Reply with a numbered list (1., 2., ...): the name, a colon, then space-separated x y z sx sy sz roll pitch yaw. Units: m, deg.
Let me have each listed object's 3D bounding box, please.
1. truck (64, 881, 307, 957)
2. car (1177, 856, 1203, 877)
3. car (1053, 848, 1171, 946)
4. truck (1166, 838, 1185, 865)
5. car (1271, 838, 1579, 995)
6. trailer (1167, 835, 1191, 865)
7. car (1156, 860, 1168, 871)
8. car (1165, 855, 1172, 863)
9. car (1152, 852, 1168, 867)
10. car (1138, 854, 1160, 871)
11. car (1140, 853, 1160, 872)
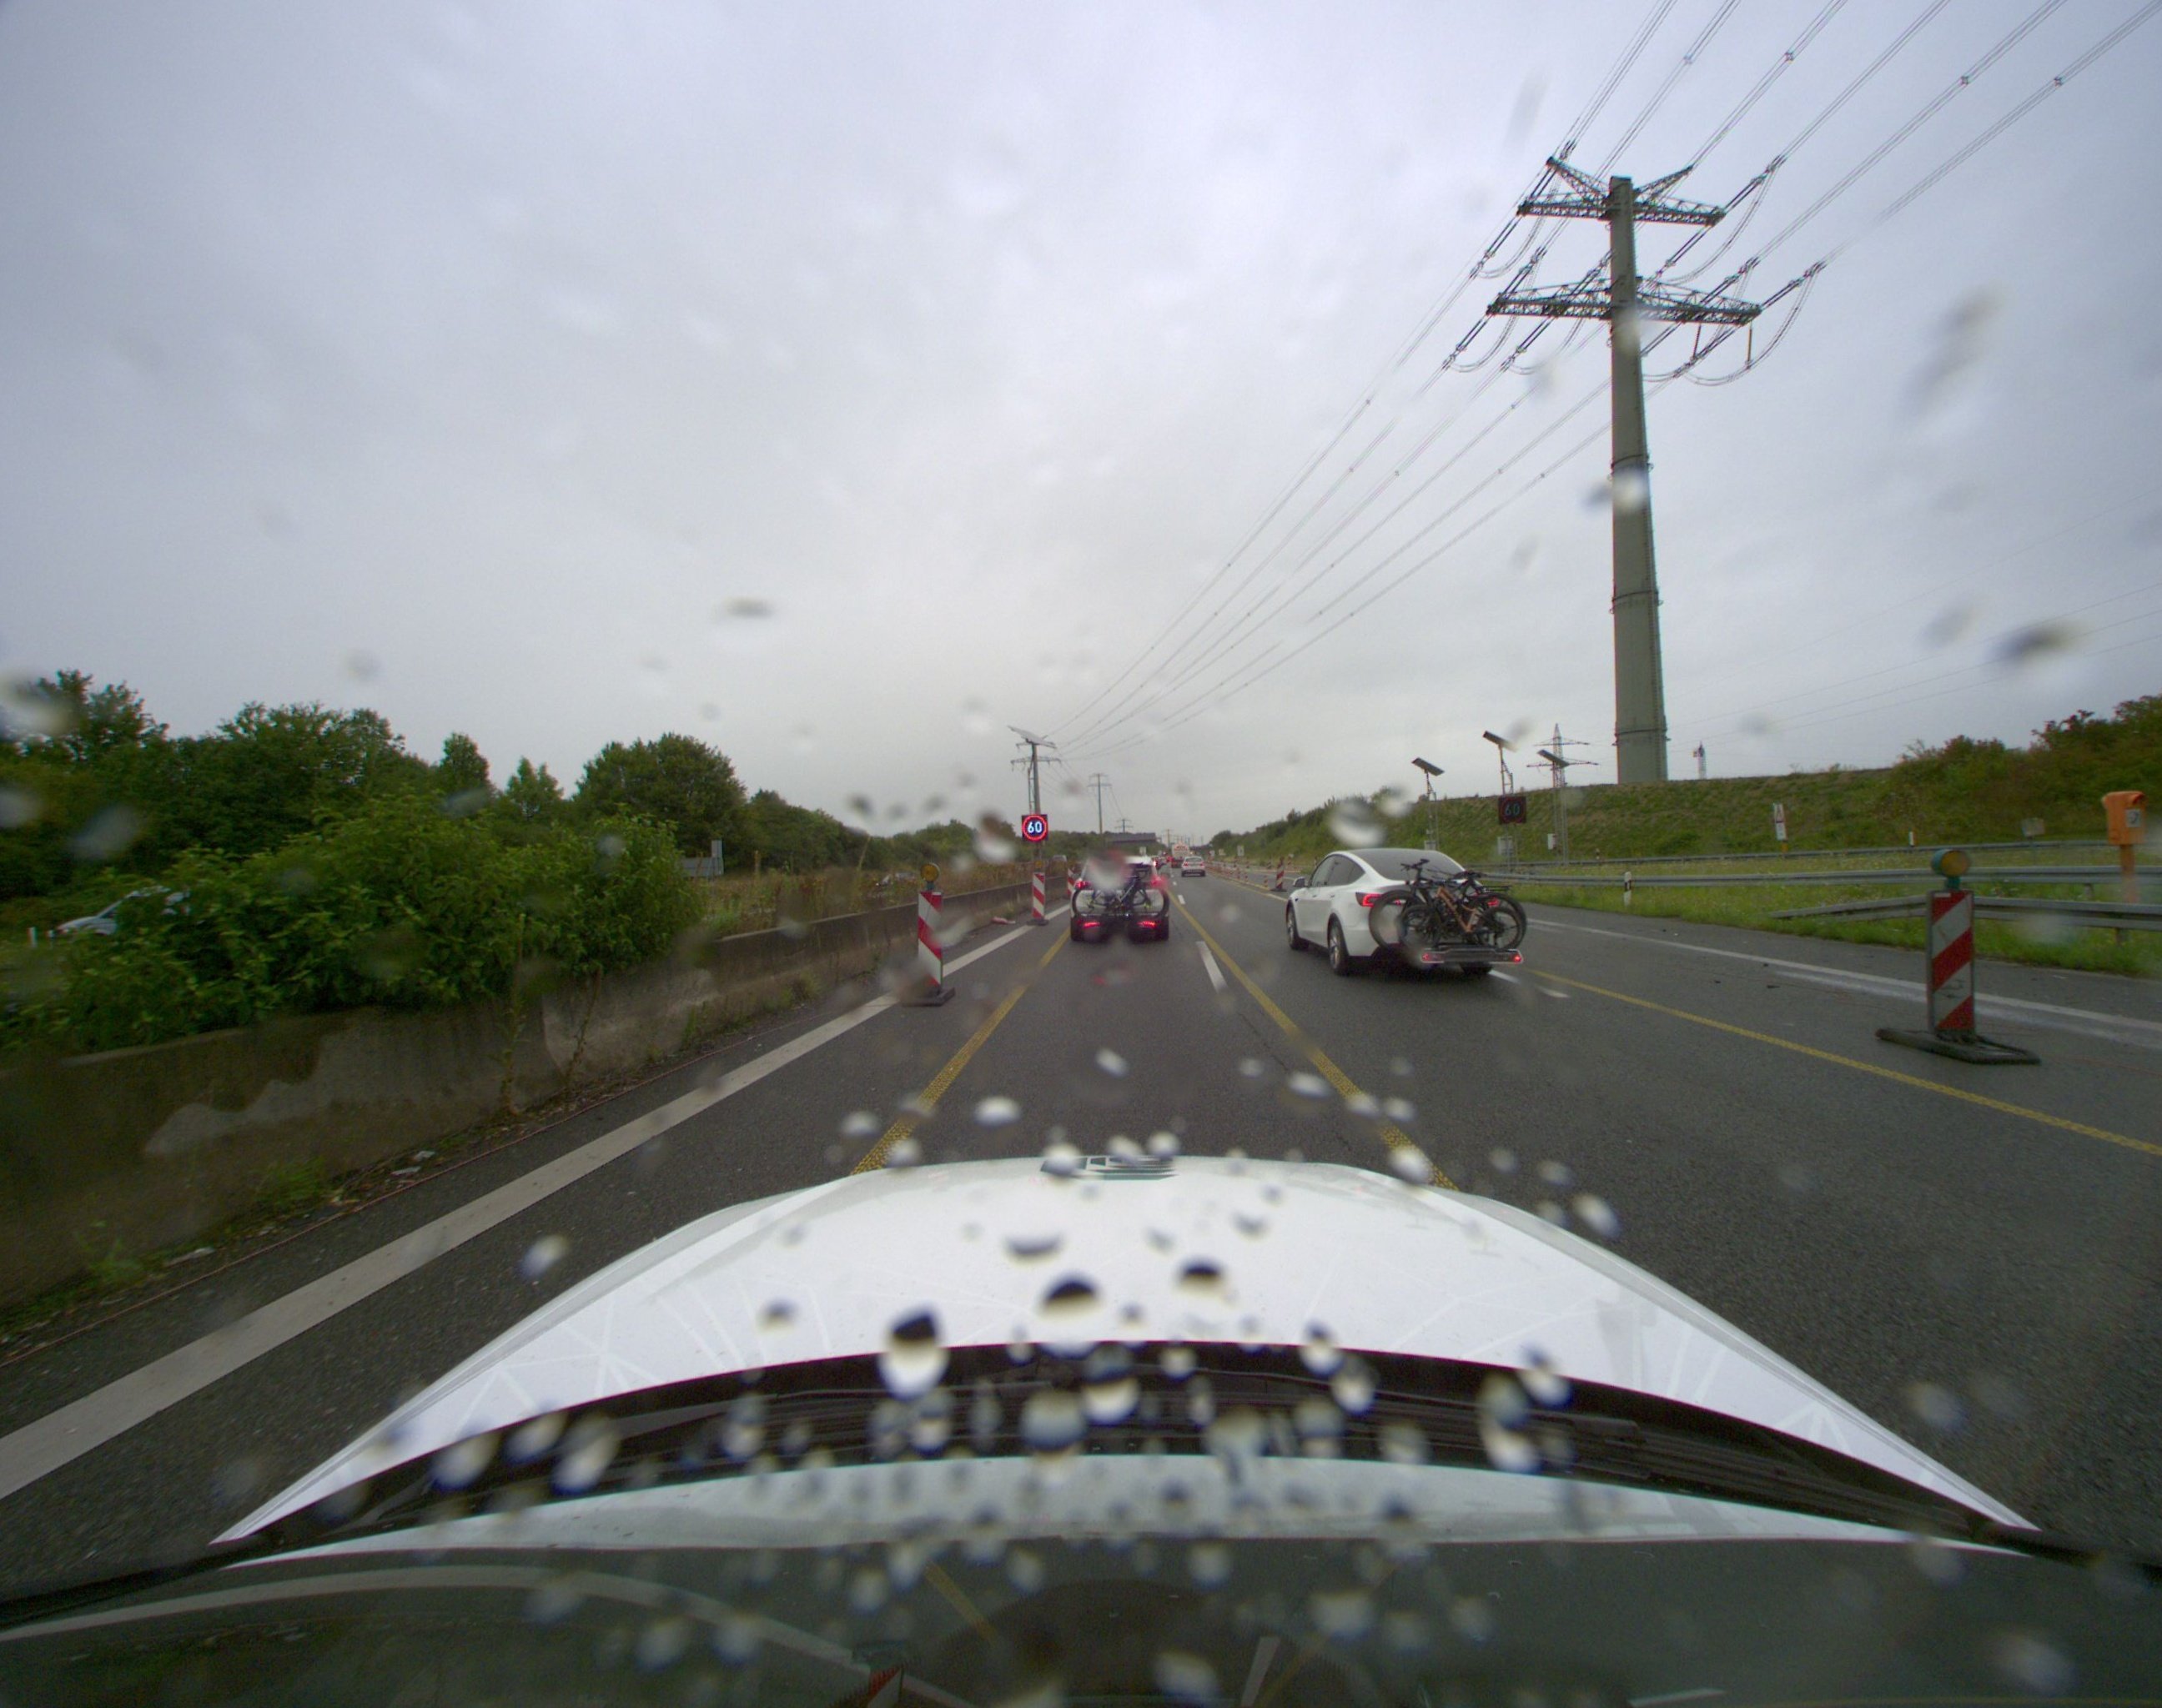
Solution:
1. truck: -36.158 2.513 33.157 1.974 2.428 6.475 -3 0 38
2. car: 8.367 0.926 62.638 1.860 1.535 4.204 -1 0 6
3. car: 0.716 0.722 15.788 1.919 1.611 4.601 -1 0 5
4. truck: 13.945 -0.368 120.364 2.634 3.891 4.032 0 -1 2
5. car: 4.188 0.660 11.237 2.037 1.596 5.805 0 0 3
6. trailer: 13.612 -0.467 113.855 2.627 3.893 10.550 0 -1 3
7. car: 15.135 2.209 152.951 1.985 2.014 4.003 0 -1 3
8. car: 21.717 1.274 202.587 1.645 2.014 4.008 -1 0 7
9. car: 10.872 0.779 111.712 1.985 2.013 4.003 0 0 3
10. car: 6.706 0.844 80.351 1.985 1.584 4.003 -1 0 3
11. car: 7.753 0.904 91.578 1.985 2.013 4.003 -3 0 3
